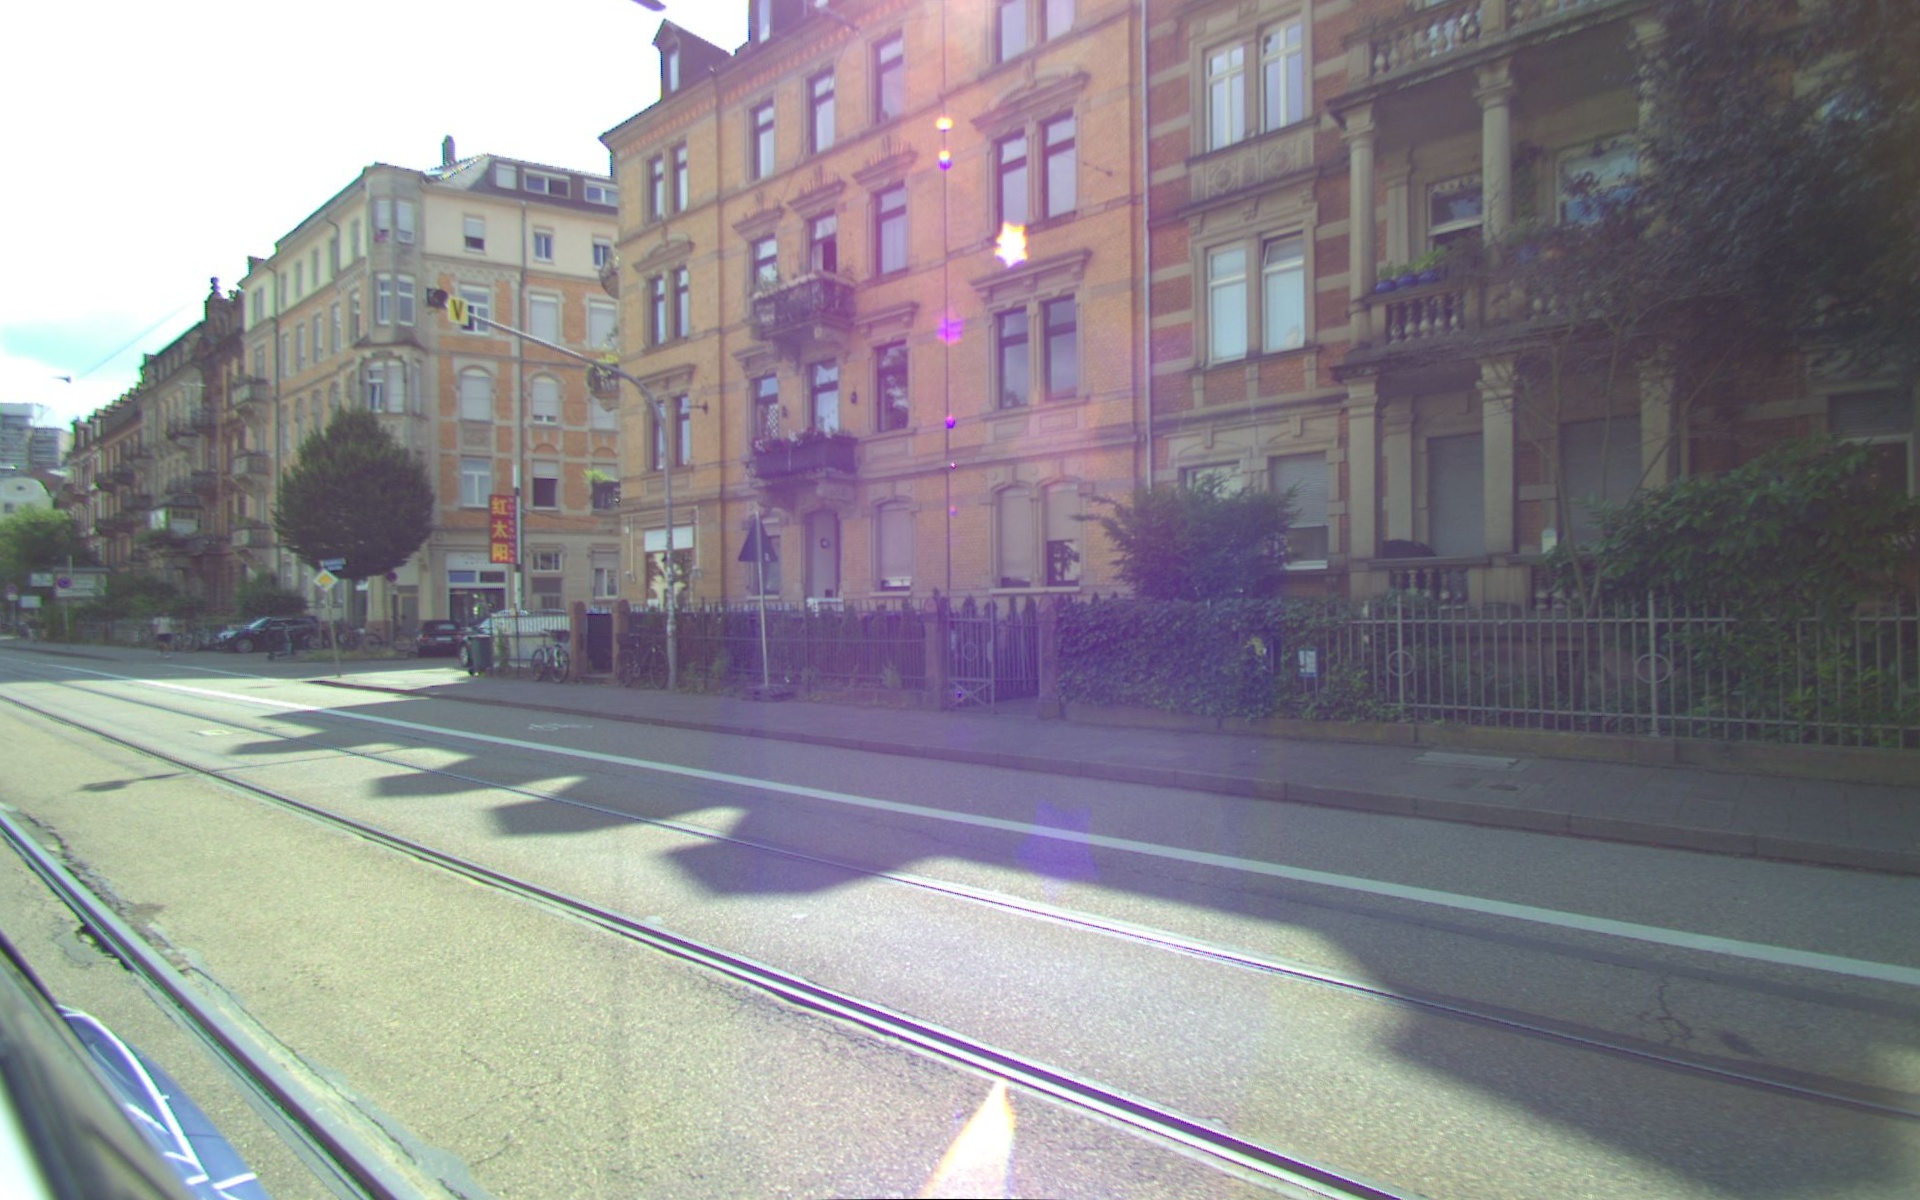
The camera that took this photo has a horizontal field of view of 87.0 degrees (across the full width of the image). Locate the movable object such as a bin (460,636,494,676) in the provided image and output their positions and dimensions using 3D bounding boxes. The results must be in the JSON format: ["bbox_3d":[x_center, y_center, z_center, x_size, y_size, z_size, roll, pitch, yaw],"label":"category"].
[{"bbox_3d":[-11.497,1.329,24.074,0.635,0.912,0.520,-1,-1,39],"label":"movable object such as a bin"}]

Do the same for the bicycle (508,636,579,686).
[{"bbox_3d":[-8.580,1.236,20.812,1.966,0.954,0.524,-1,-1,41],"label":"bicycle"}]

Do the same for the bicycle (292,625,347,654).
[{"bbox_3d":[-24.861,1.532,39.329,0.523,1.071,1.738,-2,-1,35],"label":"bicycle"}]

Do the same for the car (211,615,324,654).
[{"bbox_3d":[-28.391,1.390,41.533,1.787,1.413,3.563,-2,-1,44],"label":"car"}]

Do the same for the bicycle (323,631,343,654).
[{"bbox_3d":[-23.503,1.589,37.925,0.516,0.844,1.702,0,-1,-36],"label":"bicycle"}]

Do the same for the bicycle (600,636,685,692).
[{"bbox_3d":[-5.812,1.145,18.482,1.966,0.954,0.524,-1,-1,41],"label":"bicycle"}]

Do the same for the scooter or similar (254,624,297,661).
[{"bbox_3d":[-24.286,1.506,35.940,0.400,1.244,1.361,-1,0,12],"label":"scooter or similar"}]

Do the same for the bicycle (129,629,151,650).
[{"bbox_3d":[-37.186,1.782,45.891,1.948,0.939,0.417,-1,-1,40],"label":"bicycle"}]

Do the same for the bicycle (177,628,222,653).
[{"bbox_3d":[-30.888,1.652,41.112,0.404,0.984,1.438,-2,-1,40],"label":"bicycle"}]

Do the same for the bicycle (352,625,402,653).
[{"bbox_3d":[-23.251,1.541,40.374,1.671,1.071,0.525,0,-2,-39],"label":"bicycle"}]

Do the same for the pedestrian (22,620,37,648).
[{"bbox_3d":[-56.965,2.084,61.963,1.150,1.716,0.483,-1,-1,39],"label":"pedestrian"}]

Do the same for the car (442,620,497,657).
[{"bbox_3d":[-19.417,1.490,40.014,1.616,1.371,3.938,0,-1,-31],"label":"car"}]

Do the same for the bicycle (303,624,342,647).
[{"bbox_3d":[-28.245,1.557,44.846,0.404,0.984,1.438,-2,-1,40],"label":"bicycle"}]

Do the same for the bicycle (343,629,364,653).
[{"bbox_3d":[-22.781,1.541,38.004,0.516,0.844,1.702,0,-1,-36],"label":"bicycle"}]

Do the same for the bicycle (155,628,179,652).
[{"bbox_3d":[-32.946,1.659,42.035,1.948,0.984,0.417,-1,-1,40],"label":"bicycle"}]

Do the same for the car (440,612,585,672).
[{"bbox_3d":[-12.026,1.072,27.028,4.761,1.470,1.668,-1,-1,41],"label":"car"}]

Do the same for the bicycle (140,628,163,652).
[{"bbox_3d":[-34.970,1.720,43.784,1.948,0.984,0.417,-1,-1,40],"label":"bicycle"}]

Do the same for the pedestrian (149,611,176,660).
[{"bbox_3d":[-29.905,1.323,37.958,1.105,1.773,0.528,-1,1,40],"label":"pedestrian"}]
